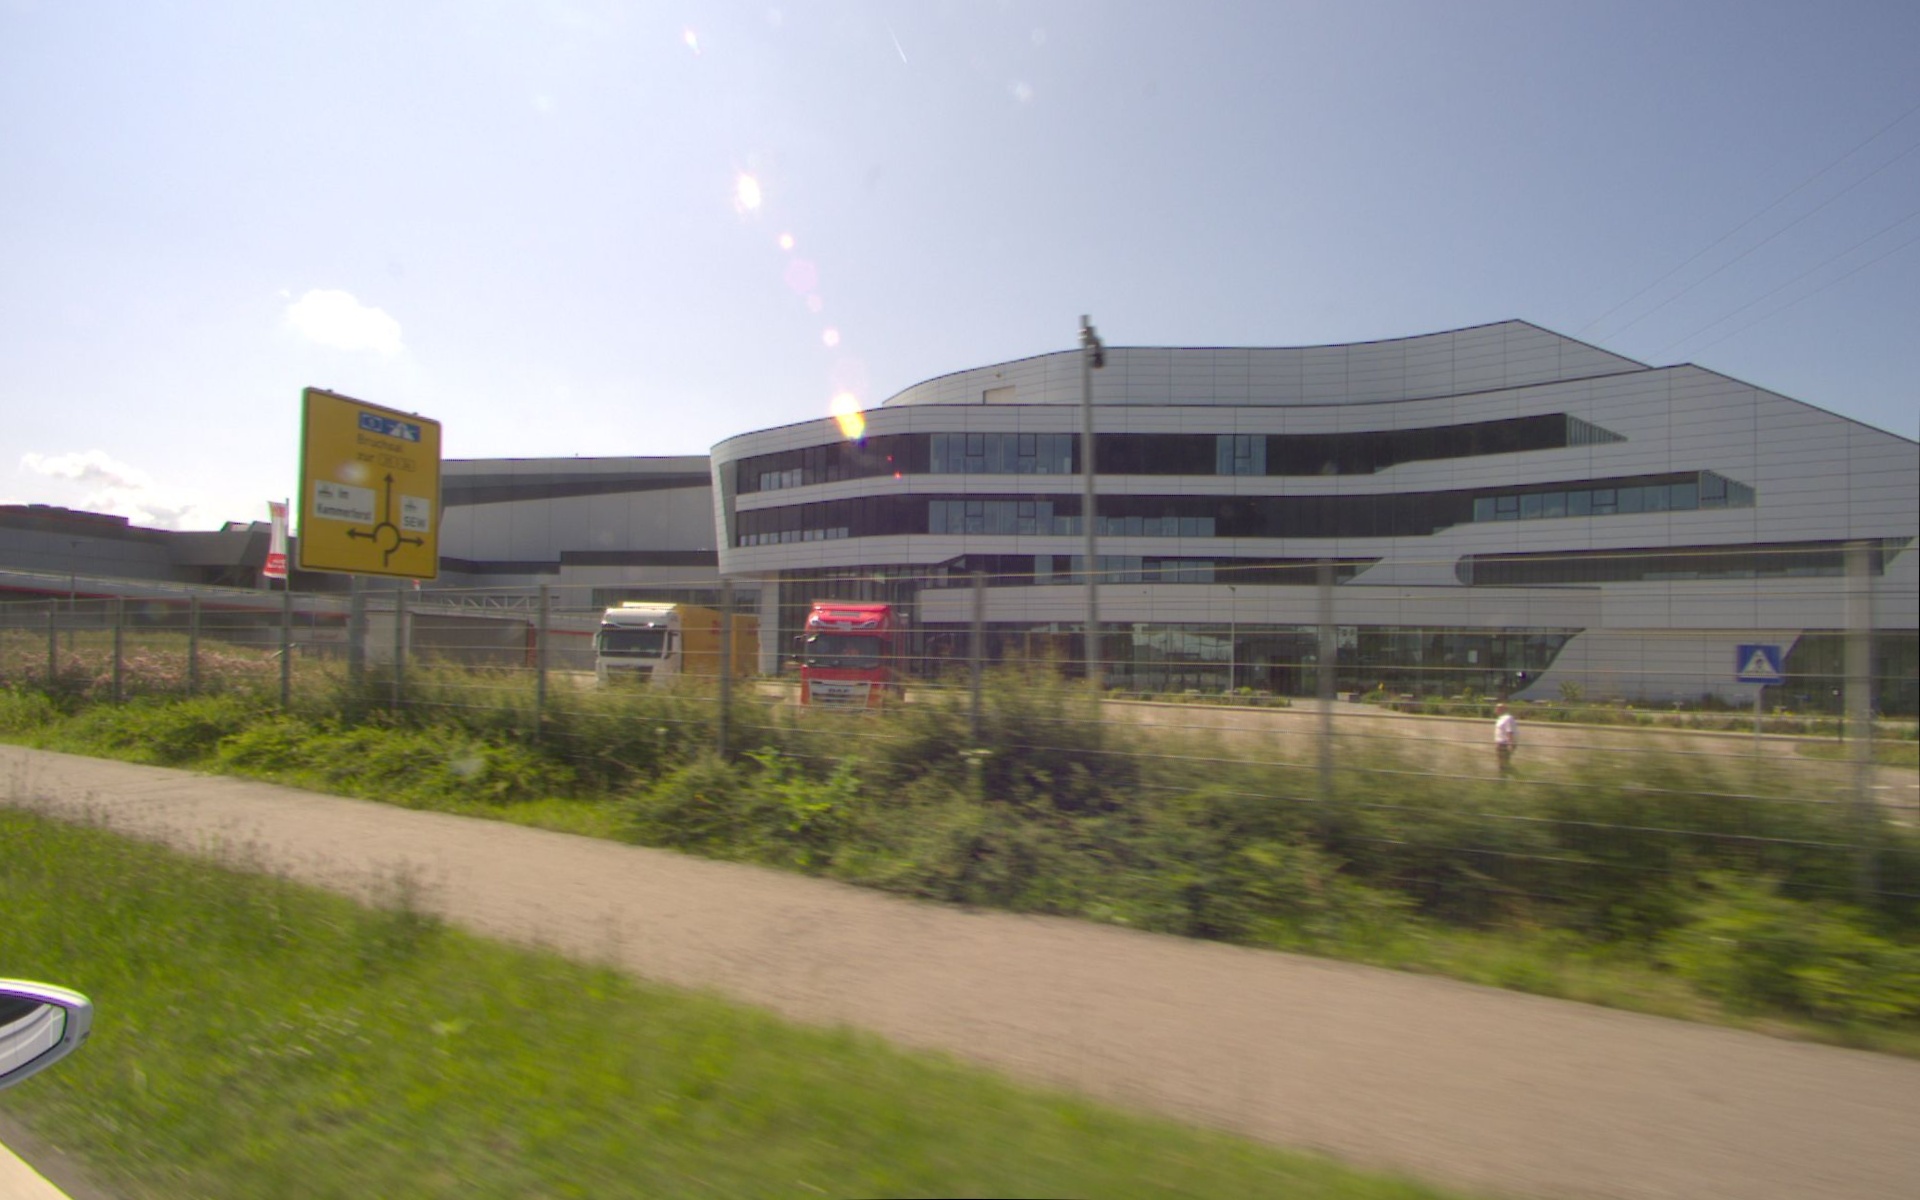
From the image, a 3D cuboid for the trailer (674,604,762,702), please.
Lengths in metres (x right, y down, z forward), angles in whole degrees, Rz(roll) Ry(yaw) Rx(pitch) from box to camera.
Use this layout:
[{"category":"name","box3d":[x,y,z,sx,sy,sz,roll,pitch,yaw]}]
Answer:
[{"category":"trailer","box3d":[-11.600,2.502,48.850,2.845,4.350,8.718,0,-2,-4]}]

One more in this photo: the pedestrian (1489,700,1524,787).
[{"category":"pedestrian","box3d":[10.904,2.844,19.970,0.566,1.673,0.482,0,-2,35]}]

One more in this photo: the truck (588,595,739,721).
[{"category":"truck","box3d":[-11.169,2.127,39.110,2.767,4.225,10.978,0,-2,-1]}]

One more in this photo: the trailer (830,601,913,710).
[{"category":"trailer","box3d":[-3.722,2.341,44.086,2.970,4.350,8.719,0,-2,-1]}]

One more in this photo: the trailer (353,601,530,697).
[{"category":"trailer","box3d":[-27.544,2.537,54.405,2.712,4.494,14.069,0,-2,-2]}]

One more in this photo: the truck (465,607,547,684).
[{"category":"truck","box3d":[-27.743,2.760,61.448,2.712,4.479,5.293,0,-1,-2]}]

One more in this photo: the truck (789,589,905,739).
[{"category":"truck","box3d":[-3.545,2.006,34.277,2.970,4.310,10.978,0,-2,-1]}]
